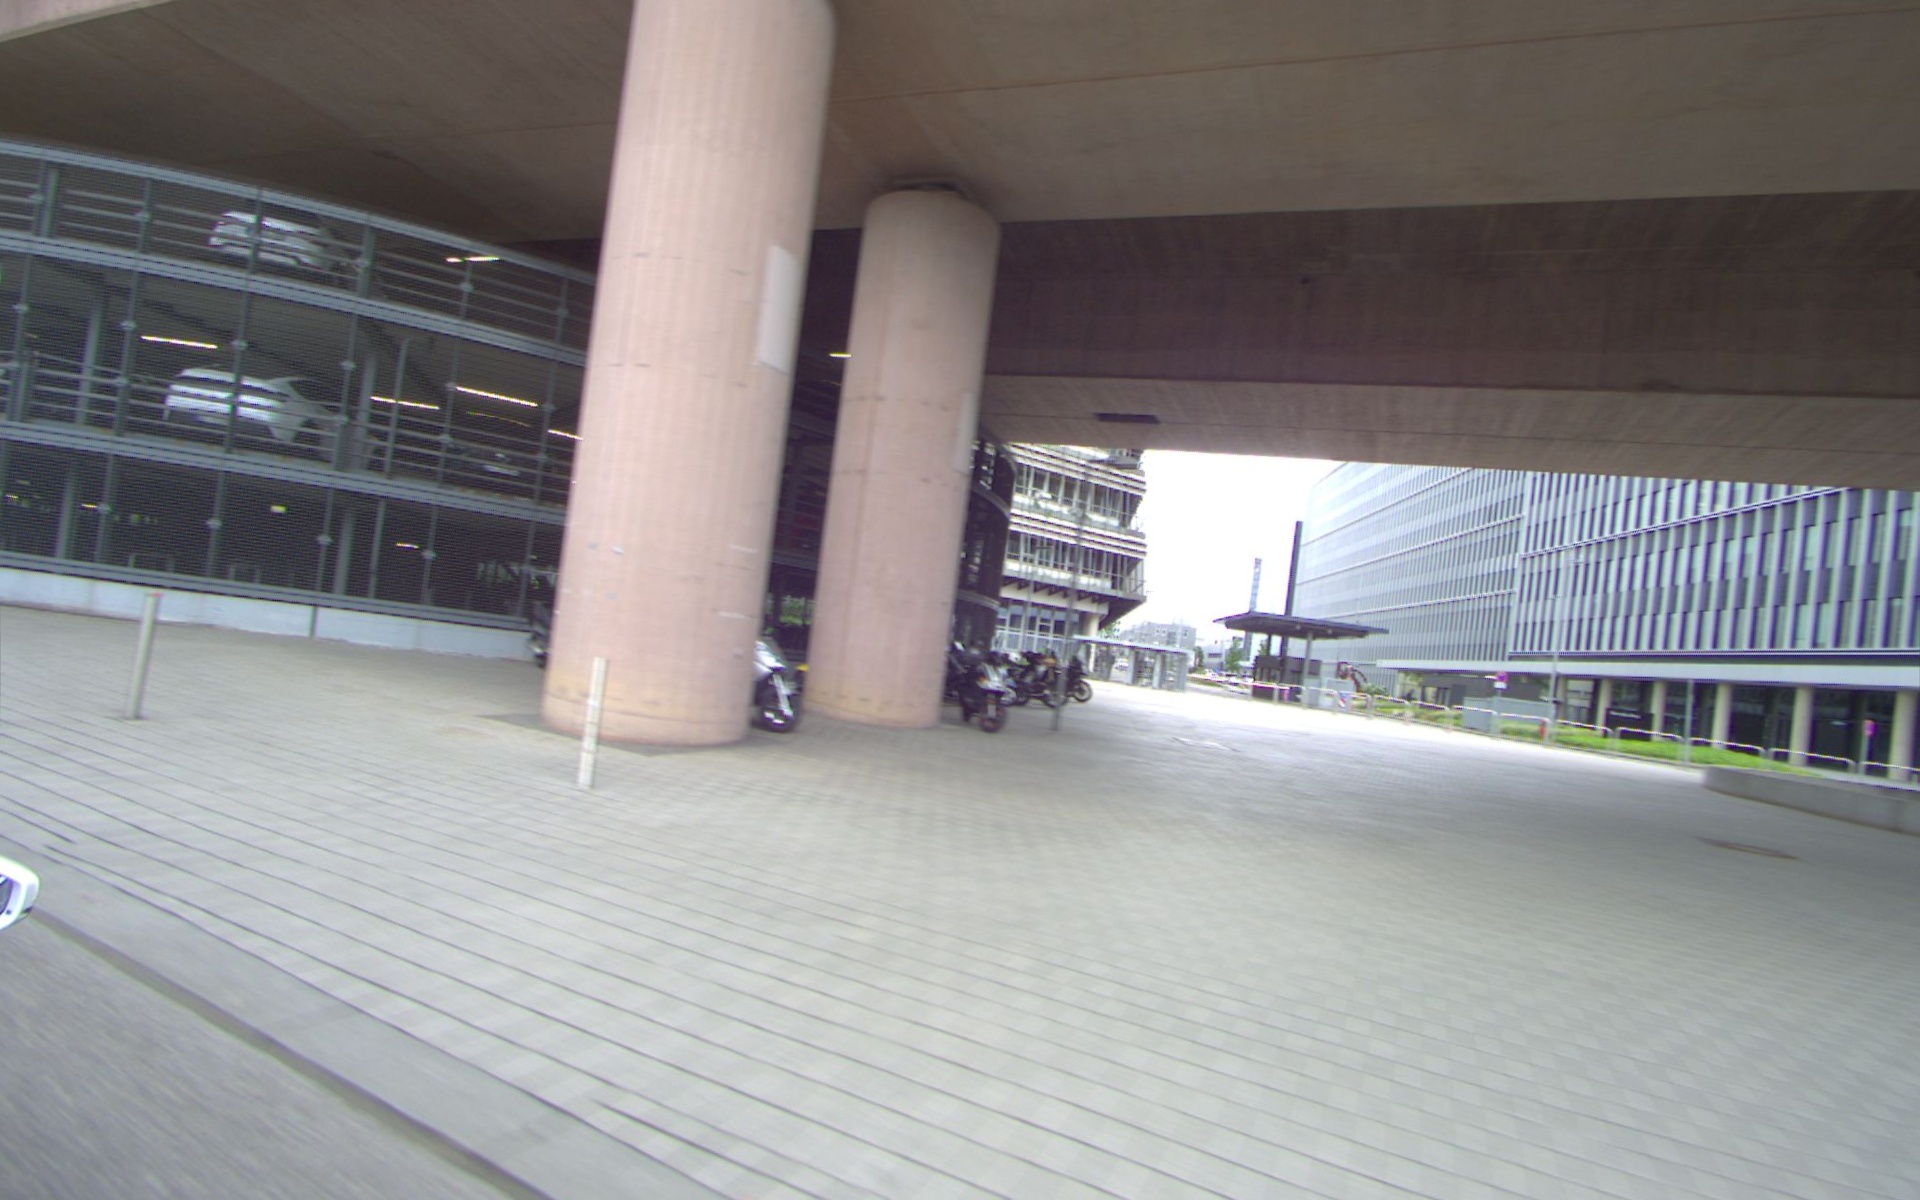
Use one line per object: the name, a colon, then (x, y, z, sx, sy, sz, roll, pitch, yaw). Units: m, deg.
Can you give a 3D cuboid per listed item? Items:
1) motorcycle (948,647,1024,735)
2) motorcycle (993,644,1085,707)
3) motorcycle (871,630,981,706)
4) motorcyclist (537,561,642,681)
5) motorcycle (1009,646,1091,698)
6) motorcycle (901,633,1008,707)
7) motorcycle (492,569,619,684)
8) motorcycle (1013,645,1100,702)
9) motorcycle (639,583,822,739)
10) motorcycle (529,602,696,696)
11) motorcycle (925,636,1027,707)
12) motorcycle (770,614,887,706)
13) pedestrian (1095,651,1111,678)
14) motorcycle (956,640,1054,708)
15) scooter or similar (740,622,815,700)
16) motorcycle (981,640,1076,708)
motorcycle: (0.375, 1.350, 15.110, 0.516, 1.184, 1.143, 8, -3, -28)
motorcycle: (1.986, 1.892, 25.389, 2.042, 1.234, 0.674, 9, 0, 26)
motorcycle: (-0.707, 1.388, 20.680, 2.042, 1.234, 0.674, 9, 0, 26)
motorcyclist: (-4.908, 0.284, 13.339, 0.753, 1.436, 0.866, 9, 0, 40)
motorcycle: (2.791, 2.229, 31.362, 2.321, 1.234, 0.674, 9, 0, 26)
motorcycle: (-0.130, 1.494, 21.483, 2.042, 1.234, 0.674, 9, 0, 26)
motorcycle: (-6.041, 0.372, 14.957, 2.137, 1.436, 0.629, 7, -1, 39)
motorcycle: (2.871, 2.185, 30.001, 2.321, 1.291, 0.674, 9, 0, 26)
motorcycle: (-2.606, 0.683, 11.488, 1.729, 1.472, 0.644, 9, 0, 9)
motorcycle: (-4.686, 0.694, 13.683, 0.737, 1.034, 1.950, 9, -1, 39)
motorcycle: (0.352, 1.588, 22.438, 2.042, 1.234, 0.674, 9, 0, 26)
motorcycle: (-2.334, 1.035, 17.685, 2.093, 1.326, 0.606, 7, -1, 39)
pedestrian: (8.326, 3.783, 58.707, 0.490, 1.499, 0.542, 9, 0, 43)
motorcycle: (1.036, 1.712, 23.421, 2.042, 1.234, 0.674, 9, 0, 26)
scooter or similar: (-3.172, 1.053, 17.451, 1.231, 1.147, 0.399, 9, 0, 36)
motorcycle: (1.665, 1.800, 24.555, 2.042, 1.301, 0.674, 9, 0, 26)
